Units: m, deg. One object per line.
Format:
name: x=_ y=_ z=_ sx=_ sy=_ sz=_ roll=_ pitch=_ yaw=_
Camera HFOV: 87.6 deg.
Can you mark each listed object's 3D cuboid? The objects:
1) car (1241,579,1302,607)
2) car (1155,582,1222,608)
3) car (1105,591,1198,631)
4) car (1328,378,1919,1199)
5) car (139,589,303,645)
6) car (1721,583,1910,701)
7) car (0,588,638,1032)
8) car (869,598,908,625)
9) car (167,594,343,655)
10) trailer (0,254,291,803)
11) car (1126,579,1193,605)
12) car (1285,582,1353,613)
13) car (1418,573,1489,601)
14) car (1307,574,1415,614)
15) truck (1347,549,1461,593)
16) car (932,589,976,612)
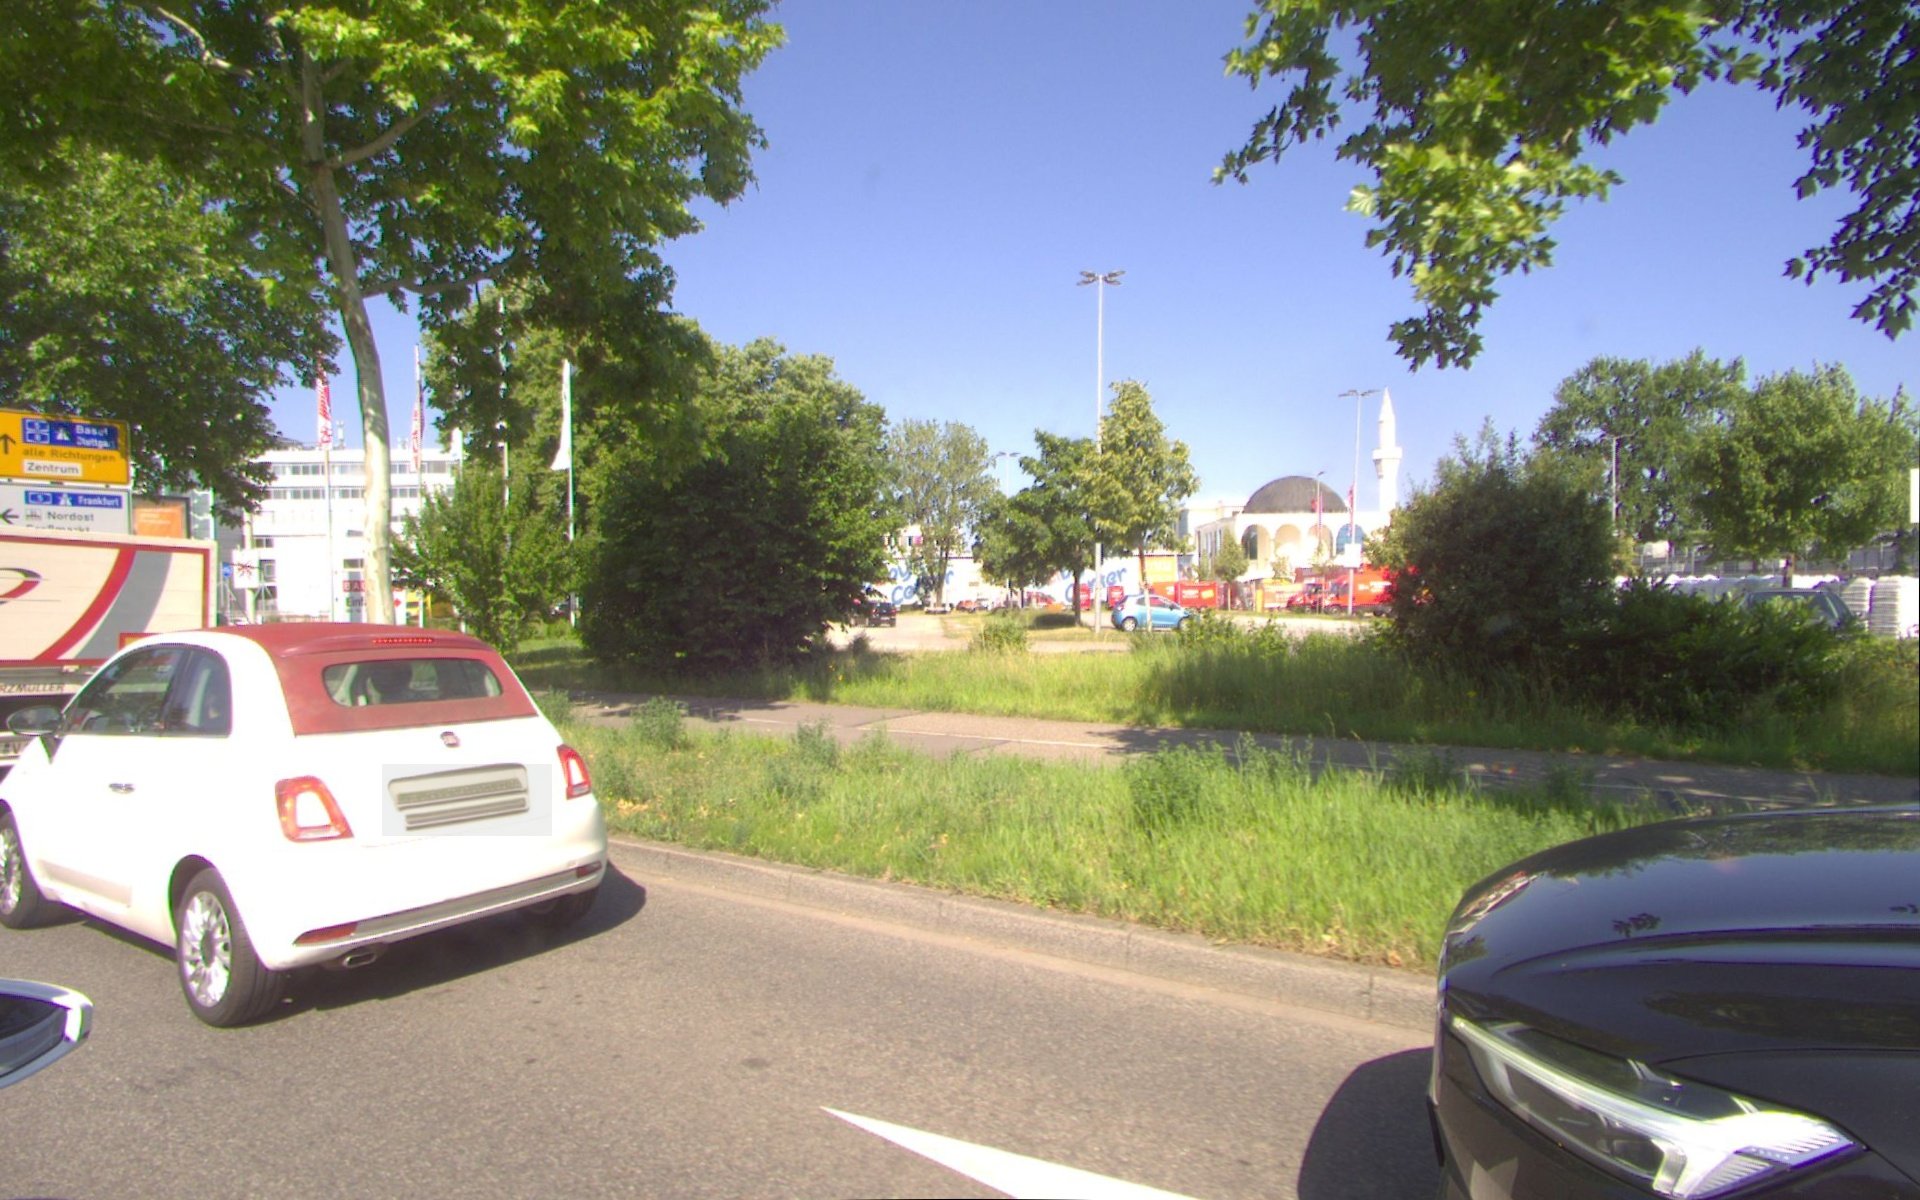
car: x=23.361 y=-0.509 z=75.228 sx=3.922 sy=2.040 sz=2.001 roll=0 pitch=-1 yaw=2
car: x=17.804 y=-0.385 z=78.155 sx=4.824 sy=1.906 sz=1.770 roll=0 pitch=-1 yaw=2
car: x=7.691 y=0.455 z=40.435 sx=3.387 sy=1.591 sz=1.745 roll=0 pitch=-1 yaw=-2
car: x=2.868 y=0.596 z=0.876 sx=4.499 sy=1.643 sz=1.916 roll=-1 pitch=-1 yaw=32
car: x=-23.737 y=0.553 z=32.263 sx=1.702 sy=1.683 sz=3.972 roll=-1 pitch=-1 yaw=38
car: x=13.956 y=0.663 z=16.553 sx=1.694 sy=1.718 sz=3.544 roll=-1 pitch=-1 yaw=29
car: x=-3.391 y=0.735 z=4.959 sx=3.472 sy=1.455 sz=1.657 roll=-1 pitch=-1 yaw=34
car: x=-4.159 y=0.683 z=57.805 sx=1.743 sy=1.534 sz=3.722 roll=0 pitch=-1 yaw=-12
car: x=-20.753 y=0.725 z=29.608 sx=1.702 sy=1.683 sz=3.972 roll=-1 pitch=-1 yaw=38
trailer: x=-11.490 y=-0.388 z=10.496 sx=12.069 sy=3.789 sz=3.010 roll=-1 pitch=-1 yaw=33
car: x=16.682 y=-0.662 z=83.829 sx=5.188 sy=2.040 sz=2.000 roll=0 pitch=-1 yaw=-4
car: x=23.492 y=-0.142 z=65.641 sx=3.924 sy=1.884 sz=1.999 roll=0 pitch=-1 yaw=10
car: x=36.441 y=-0.940 z=74.009 sx=4.304 sy=2.040 sz=2.000 roll=0 pitch=-1 yaw=-3
car: x=24.687 y=-0.331 z=61.843 sx=5.822 sy=2.371 sz=2.115 roll=0 pitch=-1 yaw=1
truck: x=34.541 y=-2.243 z=78.067 sx=8.068 sy=3.290 sz=2.000 roll=0 pitch=-1 yaw=-2
car: x=-0.575 y=0.027 z=92.650 sx=3.923 sy=2.040 sz=2.000 roll=0 pitch=-1 yaw=-6
